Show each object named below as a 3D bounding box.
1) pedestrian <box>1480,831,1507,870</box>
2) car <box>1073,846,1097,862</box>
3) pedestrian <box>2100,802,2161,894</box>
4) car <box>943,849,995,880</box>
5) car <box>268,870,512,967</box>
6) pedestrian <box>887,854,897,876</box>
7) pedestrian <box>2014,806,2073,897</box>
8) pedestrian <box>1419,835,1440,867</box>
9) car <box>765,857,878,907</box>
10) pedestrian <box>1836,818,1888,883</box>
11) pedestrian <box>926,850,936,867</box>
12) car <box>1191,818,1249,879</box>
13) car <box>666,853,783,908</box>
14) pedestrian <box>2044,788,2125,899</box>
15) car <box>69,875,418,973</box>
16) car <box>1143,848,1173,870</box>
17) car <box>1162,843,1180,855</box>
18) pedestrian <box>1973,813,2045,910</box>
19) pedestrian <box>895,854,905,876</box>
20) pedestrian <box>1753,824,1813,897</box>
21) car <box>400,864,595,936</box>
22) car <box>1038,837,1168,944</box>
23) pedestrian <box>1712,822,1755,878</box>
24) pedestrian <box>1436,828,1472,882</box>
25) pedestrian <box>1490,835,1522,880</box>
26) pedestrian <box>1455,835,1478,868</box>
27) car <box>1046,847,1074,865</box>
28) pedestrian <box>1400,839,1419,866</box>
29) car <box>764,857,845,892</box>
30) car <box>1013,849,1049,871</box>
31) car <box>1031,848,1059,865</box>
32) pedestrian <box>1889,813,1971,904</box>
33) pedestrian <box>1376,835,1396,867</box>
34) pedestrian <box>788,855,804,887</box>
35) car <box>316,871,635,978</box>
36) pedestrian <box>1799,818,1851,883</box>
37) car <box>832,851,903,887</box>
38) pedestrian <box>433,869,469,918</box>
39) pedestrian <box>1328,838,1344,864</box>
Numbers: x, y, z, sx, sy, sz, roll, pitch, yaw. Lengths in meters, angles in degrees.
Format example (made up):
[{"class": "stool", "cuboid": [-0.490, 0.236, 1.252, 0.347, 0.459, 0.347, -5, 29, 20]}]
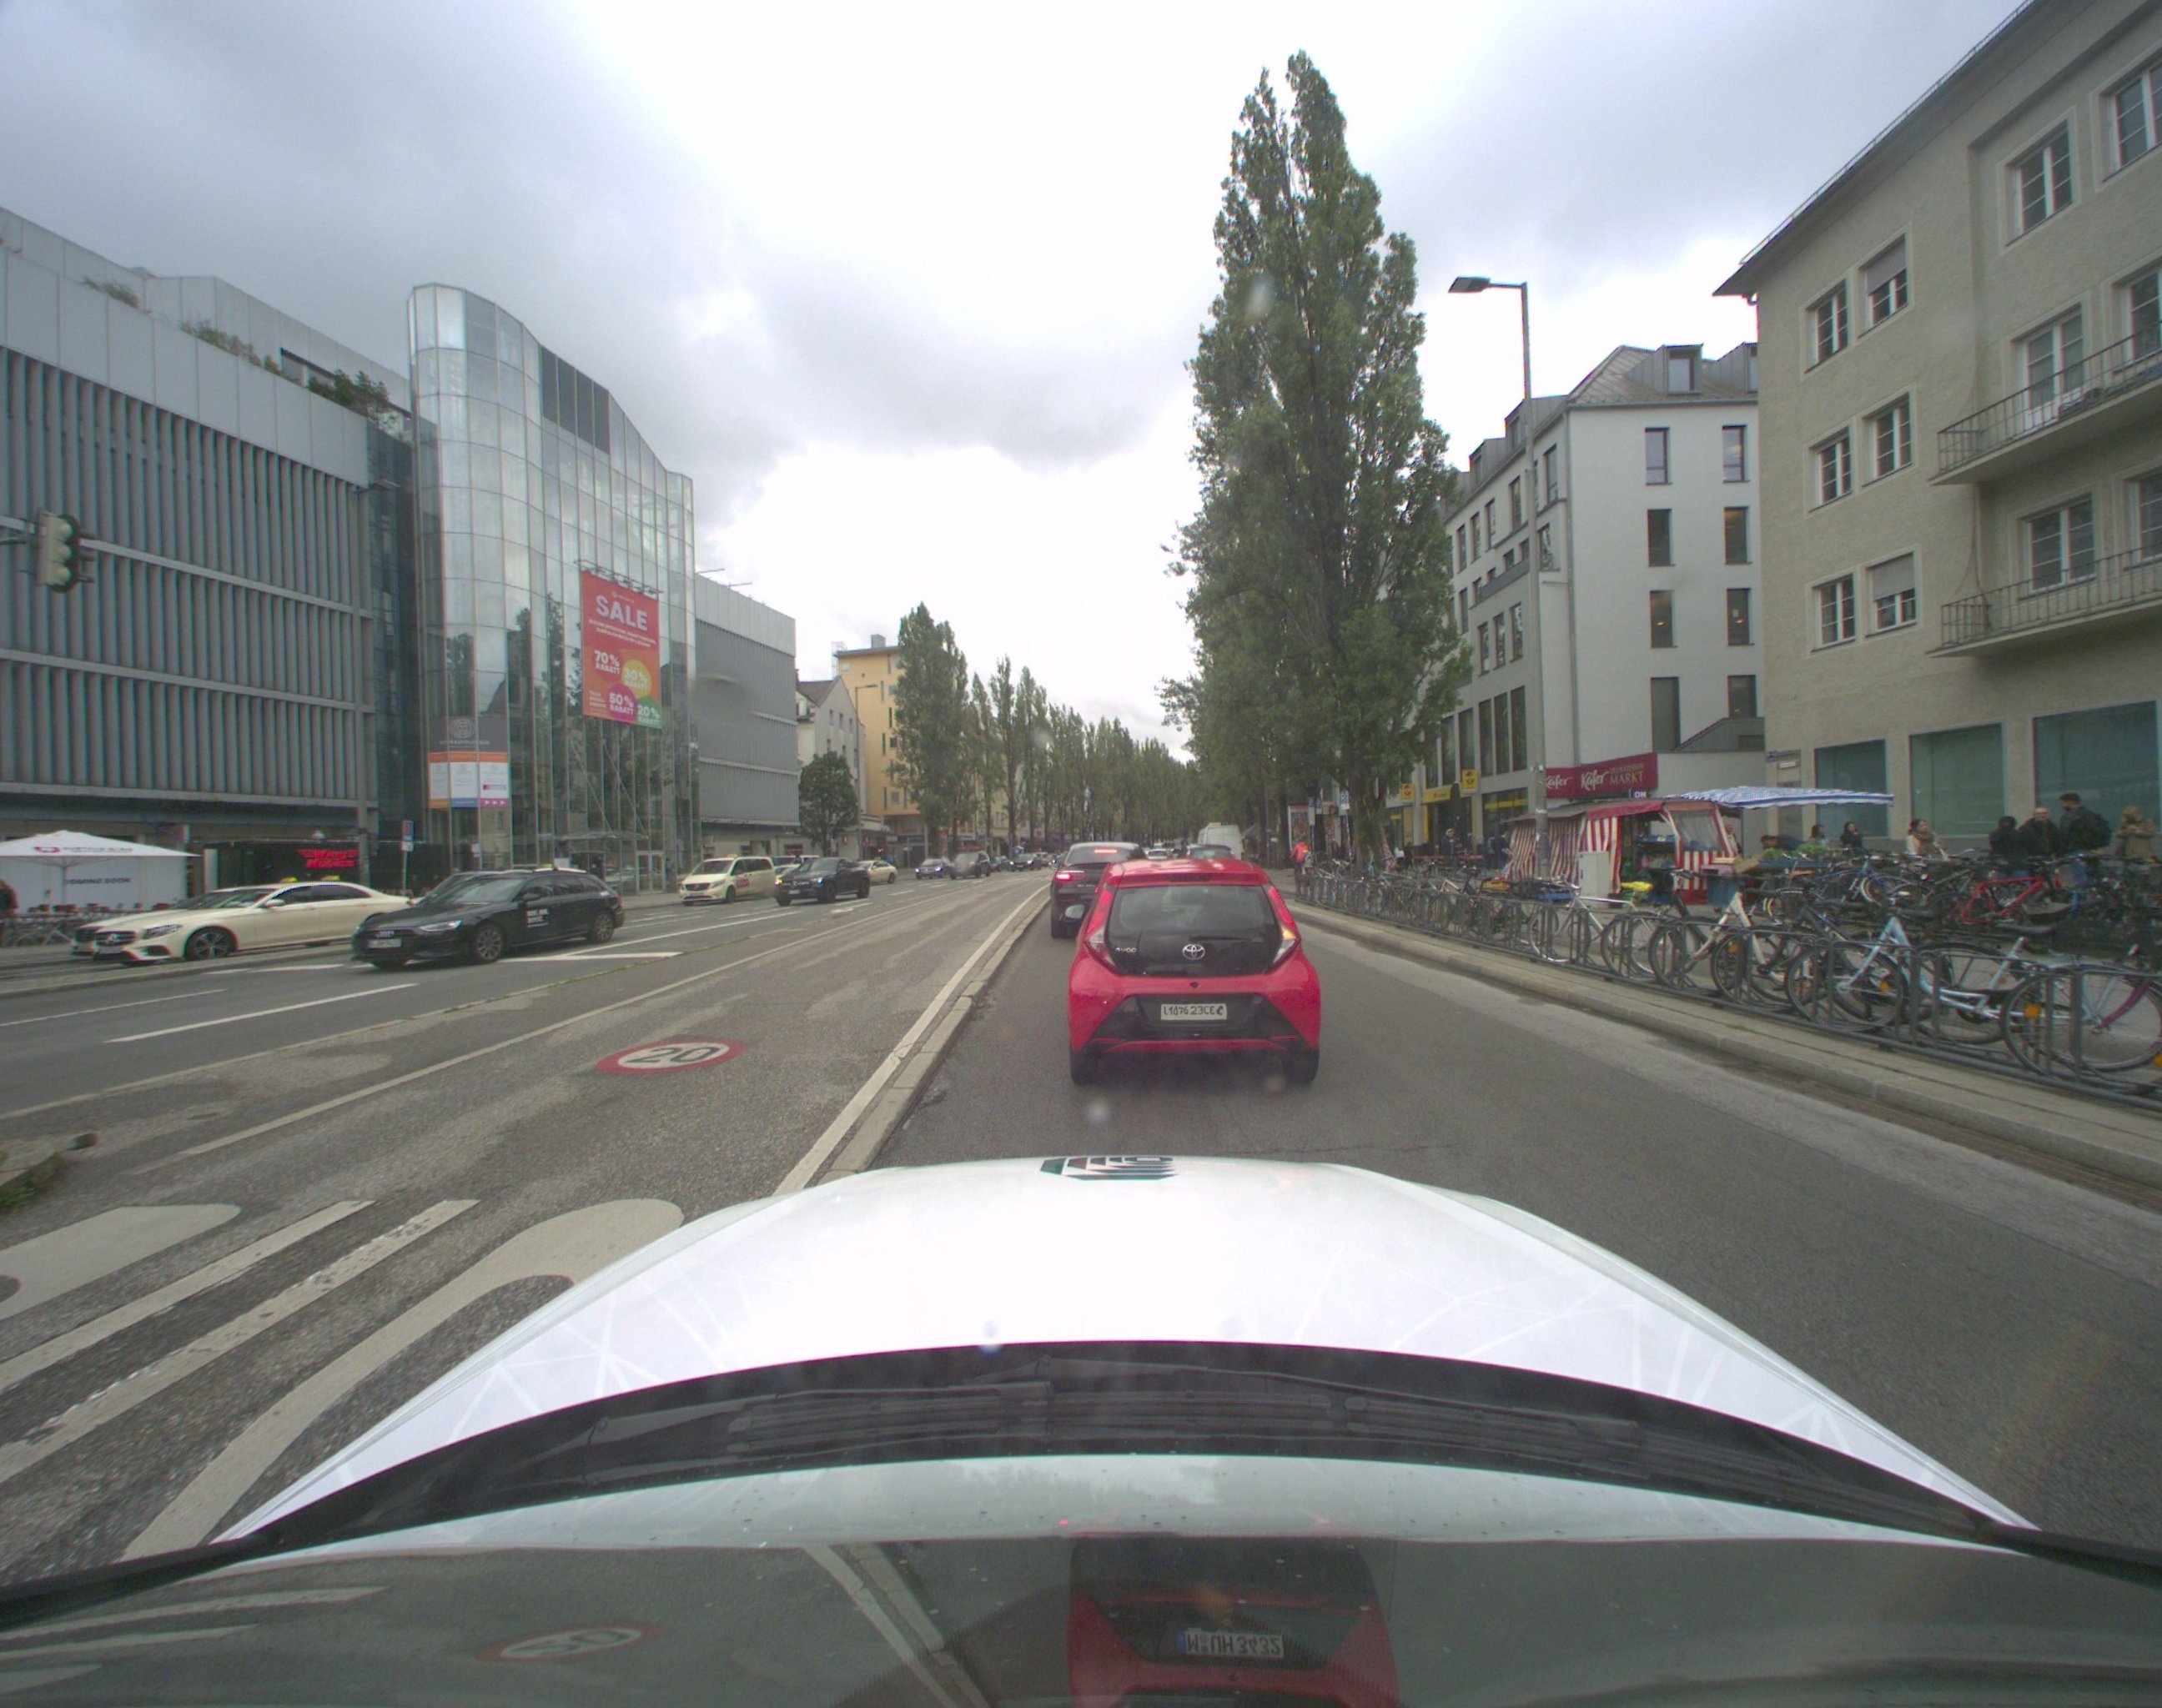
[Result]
[{"class": "pedestrian", "cuboid": [17.514, -0.149, 34.572, 0.730, 1.602, 0.742, -2, 0, 1]}, {"class": "car", "cuboid": [0.507, -0.043, 93.970, 1.982, 1.691, 4.932, -2, 0, 8]}, {"class": "pedestrian", "cuboid": [19.437, -0.121, 14.975, 0.639, 1.644, 0.563, -2, 0, 1]}, {"class": "car", "cuboid": [-6.924, 0.608, 50.940, 1.983, 1.691, 4.930, -3, 0, 6]}, {"class": "car", "cuboid": [-13.232, 1.167, 15.874, 1.616, 1.552, 3.389, -2, 0, 5]}, {"class": "pedestrian", "cuboid": [-17.922, 1.038, 77.215, 0.685, 1.997, 0.766, -2, 0, 1]}, {"class": "pedestrian", "cuboid": [15.990, -0.043, 13.536, 0.501, 1.484, 0.468, -2, 0, 36]}, {"class": "pedestrian", "cuboid": [17.586, -0.150, 41.084, 0.710, 1.558, 0.676, -2, 0, 1]}, {"class": "car", "cuboid": [-9.133, 0.940, 29.092, 1.982, 1.534, 4.598, -2, 0, 8]}, {"class": "pedestrian", "cuboid": [17.456, -0.082, 18.204, 0.573, 1.402, 0.580, -2, 0, 1]}, {"class": "pedestrian", "cuboid": [-16.076, 0.476, 87.389, 0.683, 1.810, 0.768, -2, 0, 13]}, {"class": "car", "cuboid": [6.721, -0.282, 39.971, 2.099, 2.718, 4.806, -2, 0, 2]}, {"class": "car", "cuboid": [-14.686, 1.004, 33.990, 1.984, 2.013, 5.531, -2, 0, 5]}, {"class": "pedestrian", "cuboid": [15.560, -0.157, 12.645, 0.594, 1.669, 0.690, -2, 0, 36]}, {"class": "car", "cuboid": [-16.797, 1.317, 16.778, 1.981, 1.508, 4.648, -2, 0, 10]}, {"class": "car", "cuboid": [5.213, 0.329, 55.562, 1.694, 1.426, 3.497, -2, 0, 1]}, {"class": "car", "cuboid": [10.967, -0.603, 99.085, 1.761, 1.439, 3.950, -2, 0, 11]}, {"class": "pedestrian", "cuboid": [14.858, 0.115, 13.053, 0.573, 1.505, 0.620, -2, 0, 32]}, {"class": "pedestrian", "cuboid": [-17.173, 1.041, 77.282, 0.685, 1.997, 0.766, -2, 0, 1]}, {"class": "pedestrian", "cuboid": [14.044, 0.127, 16.311, 0.613, 1.425, 0.660, -2, 0, 6]}, {"class": "car", "cuboid": [-15.990, 1.188, 22.648, 1.982, 1.679, 4.193, -2, 0, 8]}, {"class": "car", "cuboid": [0.367, 0.556, 14.750, 1.987, 1.618, 4.000, -2, 0, 1]}, {"class": "pedestrian", "cuboid": [16.823, -0.093, 21.016, 0.596, 1.402, 0.580, -2, 0, 1]}, {"class": "pedestrian", "cuboid": [12.395, 0.029, 27.095, 0.788, 1.727, 0.764, -2, 0, 1]}, {"class": "pedestrian", "cuboid": [15.449, 0.128, 29.618, 0.730, 1.602, 0.742, -2, 0, 1]}, {"class": "pedestrian", "cuboid": [18.564, -0.137, 39.216, 0.710, 1.558, 0.676, -2, 0, 1]}, {"class": "car", "cuboid": [-2.134, 0.168, 83.182, 1.982, 1.691, 4.932, -2, 0, 8]}, {"class": "pedestrian", "cuboid": [16.179, -0.066, 40.085, 0.636, 1.306, 0.676, -2, 0, 1]}, {"class": "car", "cuboid": [-13.977, 0.987, 41.451, 1.982, 1.655, 4.544, -1, 0, 8]}, {"class": "car", "cuboid": [-4.166, 0.472, 68.365, 1.982, 1.691, 4.932, -2, 0, 8]}, {"class": "car", "cuboid": [-3.915, 0.292, 88.889, 1.981, 1.691, 4.935, -2, 0, 10]}, {"class": "pedestrian", "cuboid": [14.734, 0.083, 14.164, 0.801, 1.522, 0.805, -2, 0, 34]}, {"class": "pedestrian", "cuboid": [15.424, -0.165, 41.242, 0.710, 1.558, 0.676, -2, 0, 1]}, {"class": "pedestrian", "cuboid": [-16.299, 0.973, 46.618, 0.553, 1.817, 0.630, -2, 0, 12]}, {"class": "car", "cuboid": [-10.159, 1.080, 14.252, 1.836, 1.382, 4.607, -2, 0, 5]}, {"class": "pedestrian", "cuboid": [16.733, -0.080, 18.329, 0.596, 1.402, 0.580, -2, 0, 1]}, {"class": "car", "cuboid": [-12.359, 0.846, 47.500, 1.979, 1.816, 4.550, -3, 1, 13]}, {"class": "pedestrian", "cuboid": [-22.583, 1.414, 29.199, 0.646, 1.691, 0.714, -2, 0, 14]}, {"class": "pedestrian", "cuboid": [15.691, -0.193, 50.098, 0.761, 1.593, 0.676, -2, 0, 1]}]
